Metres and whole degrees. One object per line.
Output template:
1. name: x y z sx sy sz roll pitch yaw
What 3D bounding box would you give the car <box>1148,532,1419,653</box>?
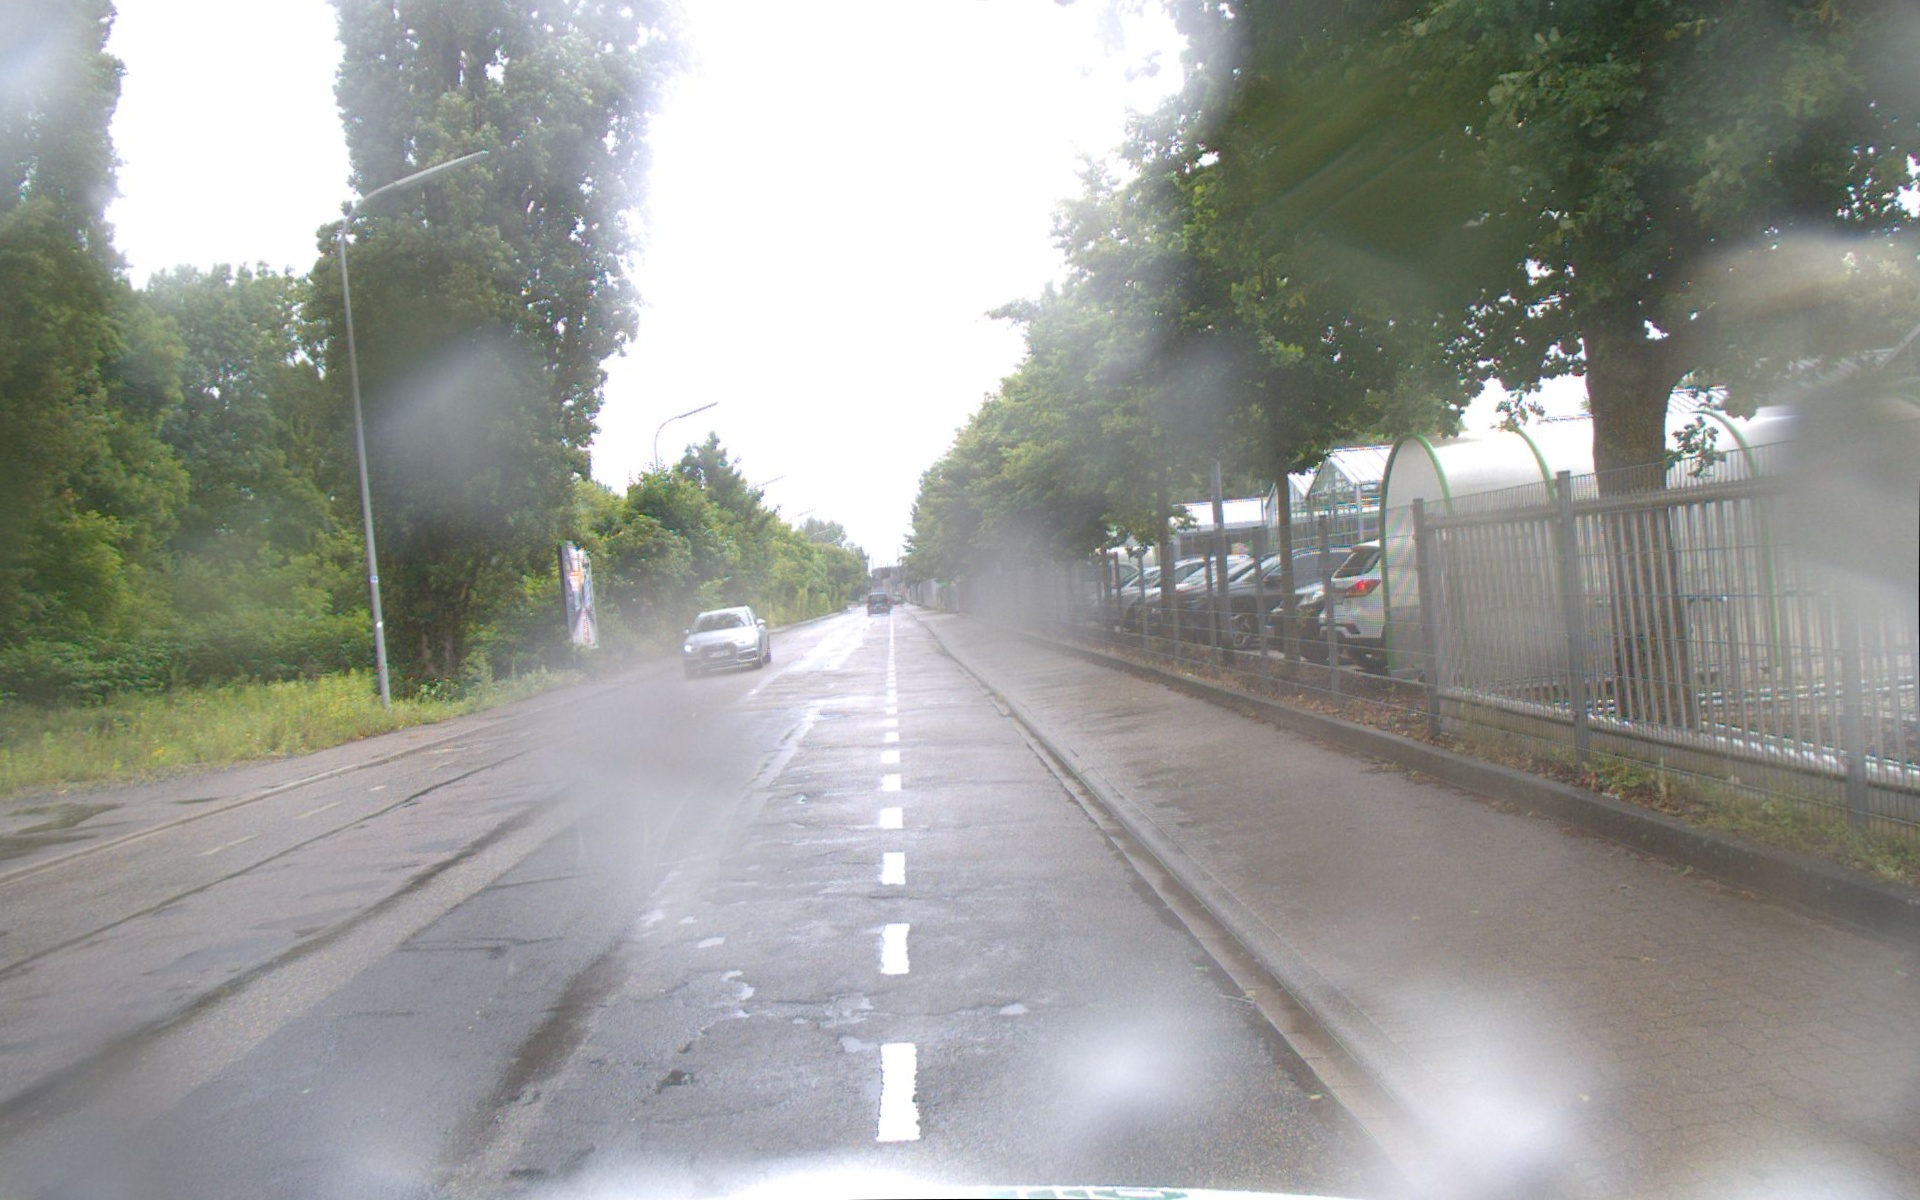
1. car: 5.554 -0.132 28.620 4.133 1.646 1.820 -5 1 -10

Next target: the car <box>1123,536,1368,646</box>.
1. car: 5.403 -0.178 31.487 4.133 1.646 1.820 -5 1 -10

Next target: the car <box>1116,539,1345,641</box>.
1. car: 5.468 -0.210 33.633 4.133 1.646 1.820 -5 1 -10

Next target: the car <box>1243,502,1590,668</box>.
1. car: 6.237 -0.211 22.788 4.133 1.825 1.820 -5 1 -10

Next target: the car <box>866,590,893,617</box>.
1. car: -6.391 0.286 131.668 1.955 1.943 4.198 -6 0 -3

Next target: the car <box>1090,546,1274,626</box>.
1. car: 5.556 -0.351 41.569 4.133 1.615 1.820 -5 1 -10

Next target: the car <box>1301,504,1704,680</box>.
1. car: 6.433 -0.108 19.904 4.126 1.628 1.823 -5 0 -4

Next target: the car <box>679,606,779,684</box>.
1. car: -5.423 1.014 39.318 1.700 1.474 4.379 -8 0 -1

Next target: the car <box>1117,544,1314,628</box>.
1. car: 5.992 -0.319 38.932 4.133 1.560 1.820 -5 1 -10
